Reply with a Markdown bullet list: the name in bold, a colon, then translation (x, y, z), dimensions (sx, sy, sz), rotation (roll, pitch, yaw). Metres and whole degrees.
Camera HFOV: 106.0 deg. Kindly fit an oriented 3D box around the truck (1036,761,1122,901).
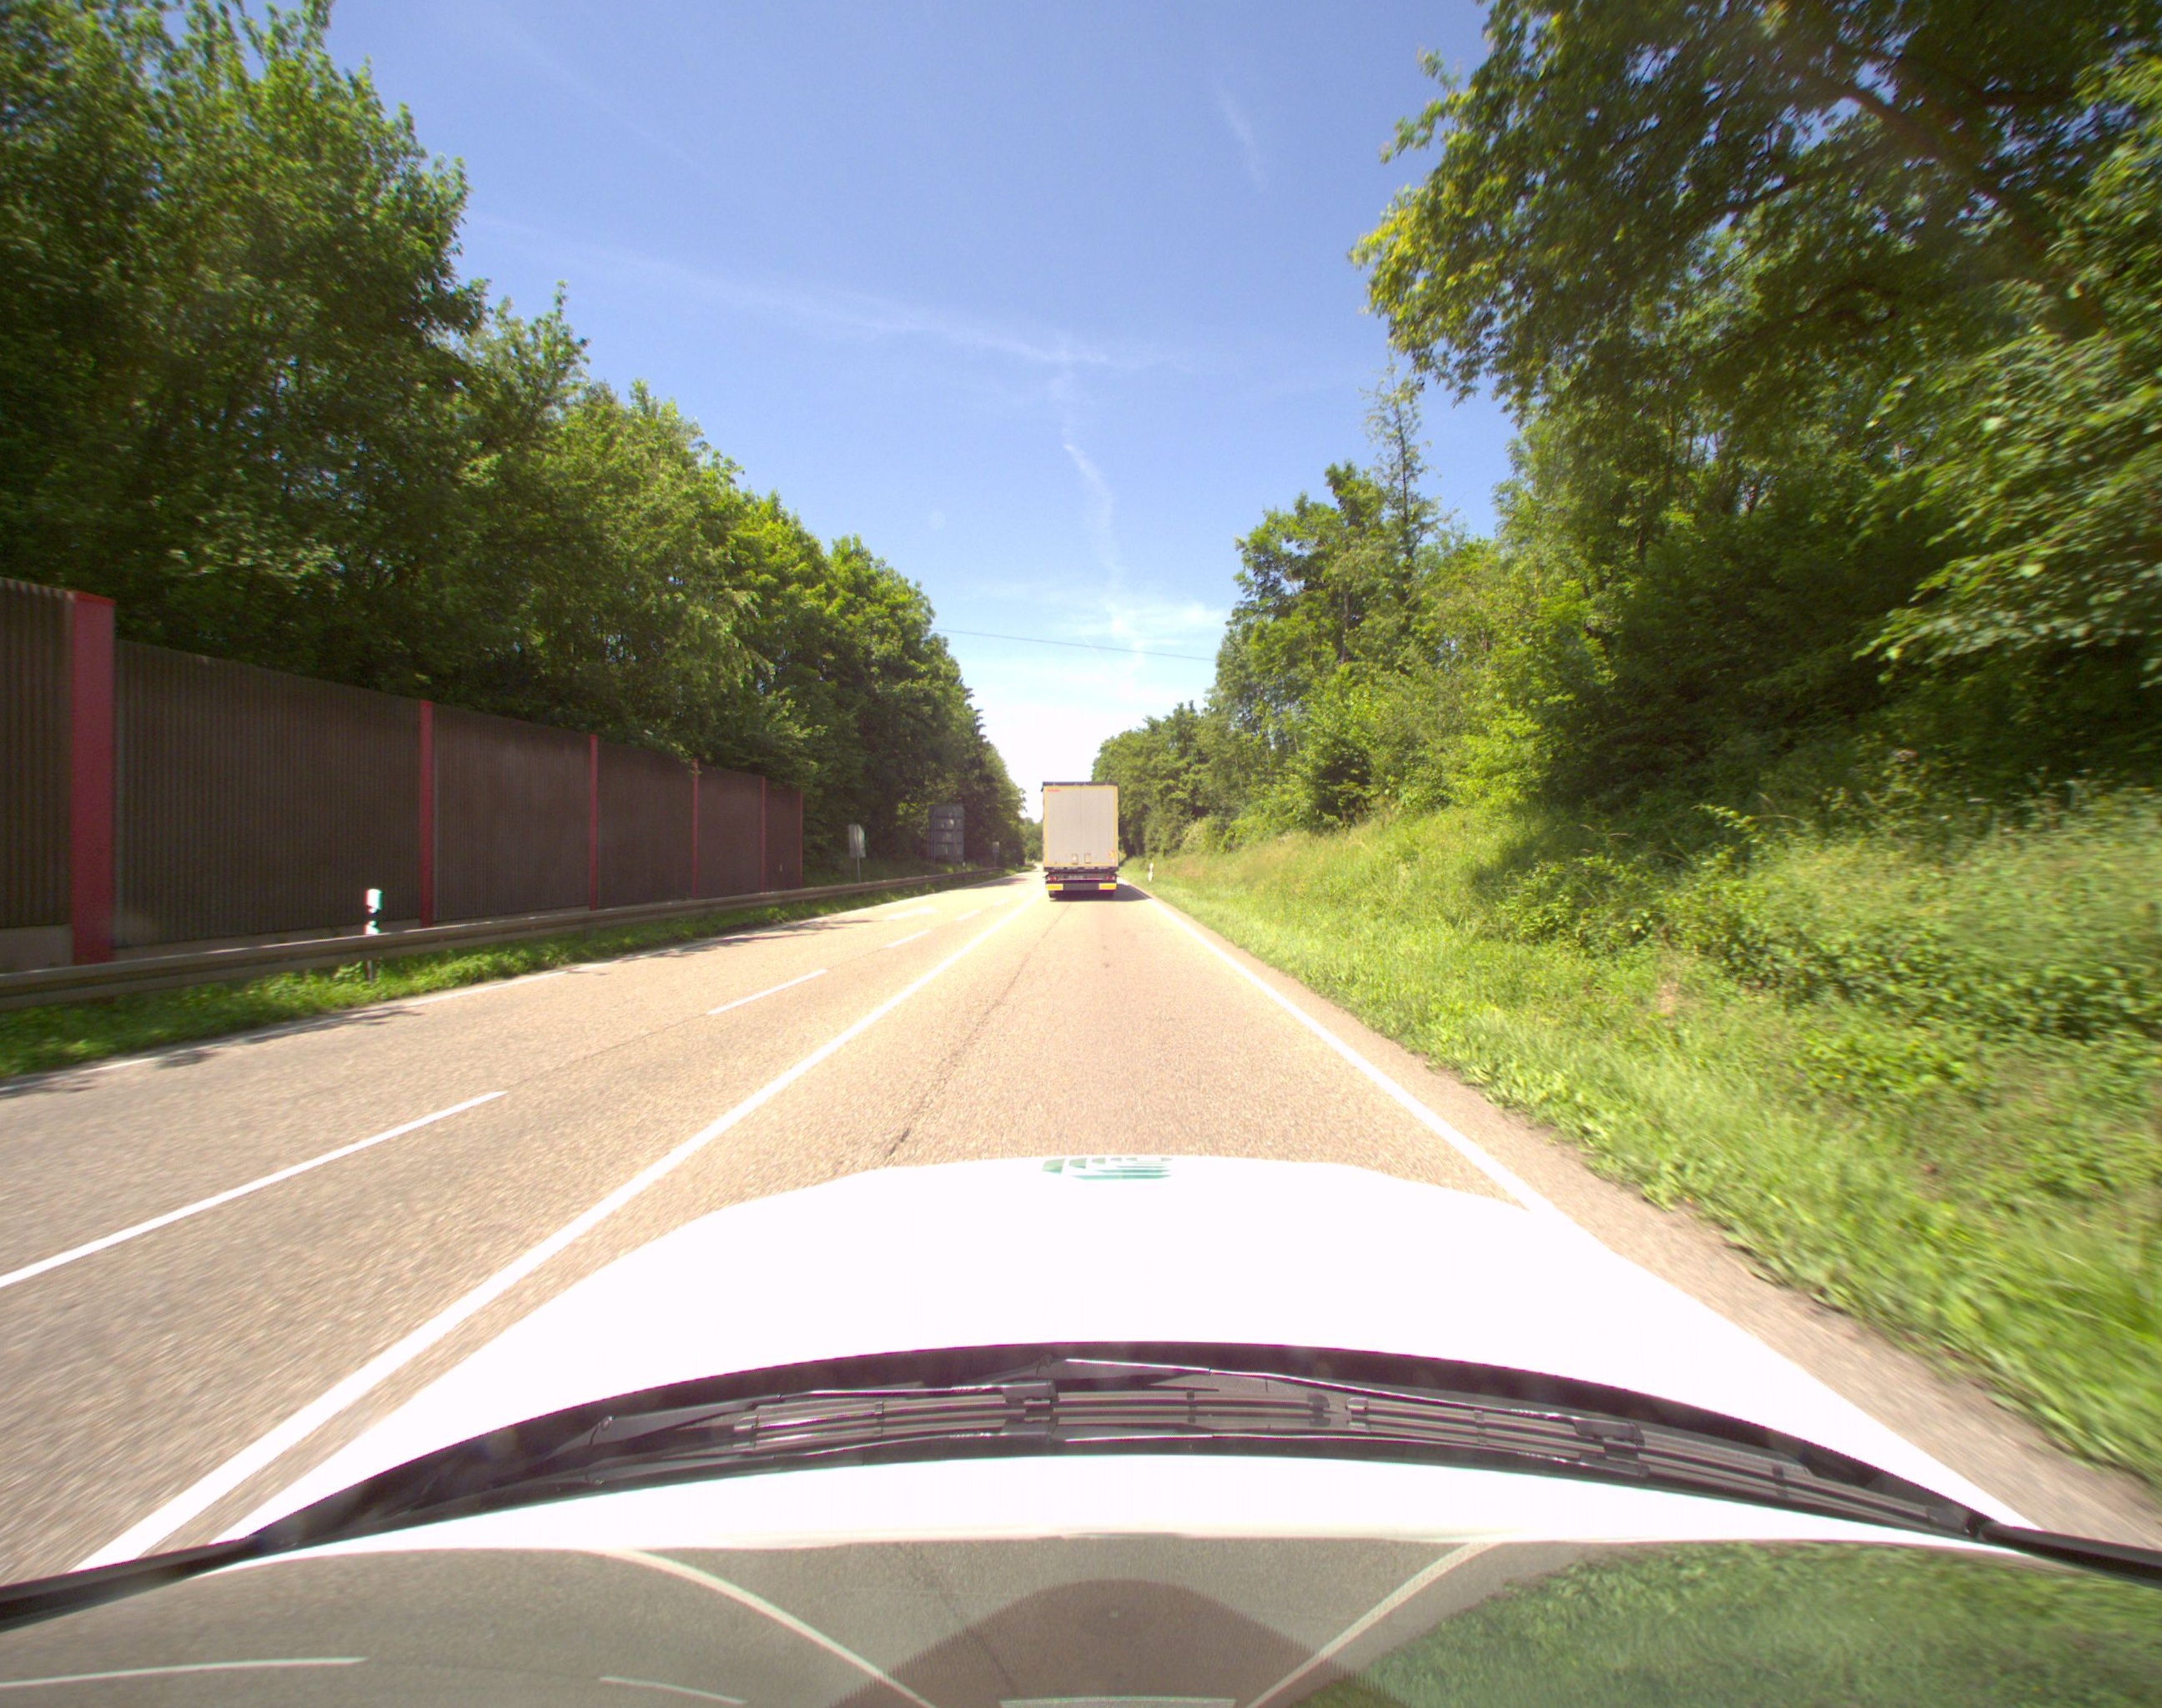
- **truck**: translation (-0.031, -0.819, 30.384), dimensions (2.813, 4.603, 6.666), rotation (-1, 1, 1)
